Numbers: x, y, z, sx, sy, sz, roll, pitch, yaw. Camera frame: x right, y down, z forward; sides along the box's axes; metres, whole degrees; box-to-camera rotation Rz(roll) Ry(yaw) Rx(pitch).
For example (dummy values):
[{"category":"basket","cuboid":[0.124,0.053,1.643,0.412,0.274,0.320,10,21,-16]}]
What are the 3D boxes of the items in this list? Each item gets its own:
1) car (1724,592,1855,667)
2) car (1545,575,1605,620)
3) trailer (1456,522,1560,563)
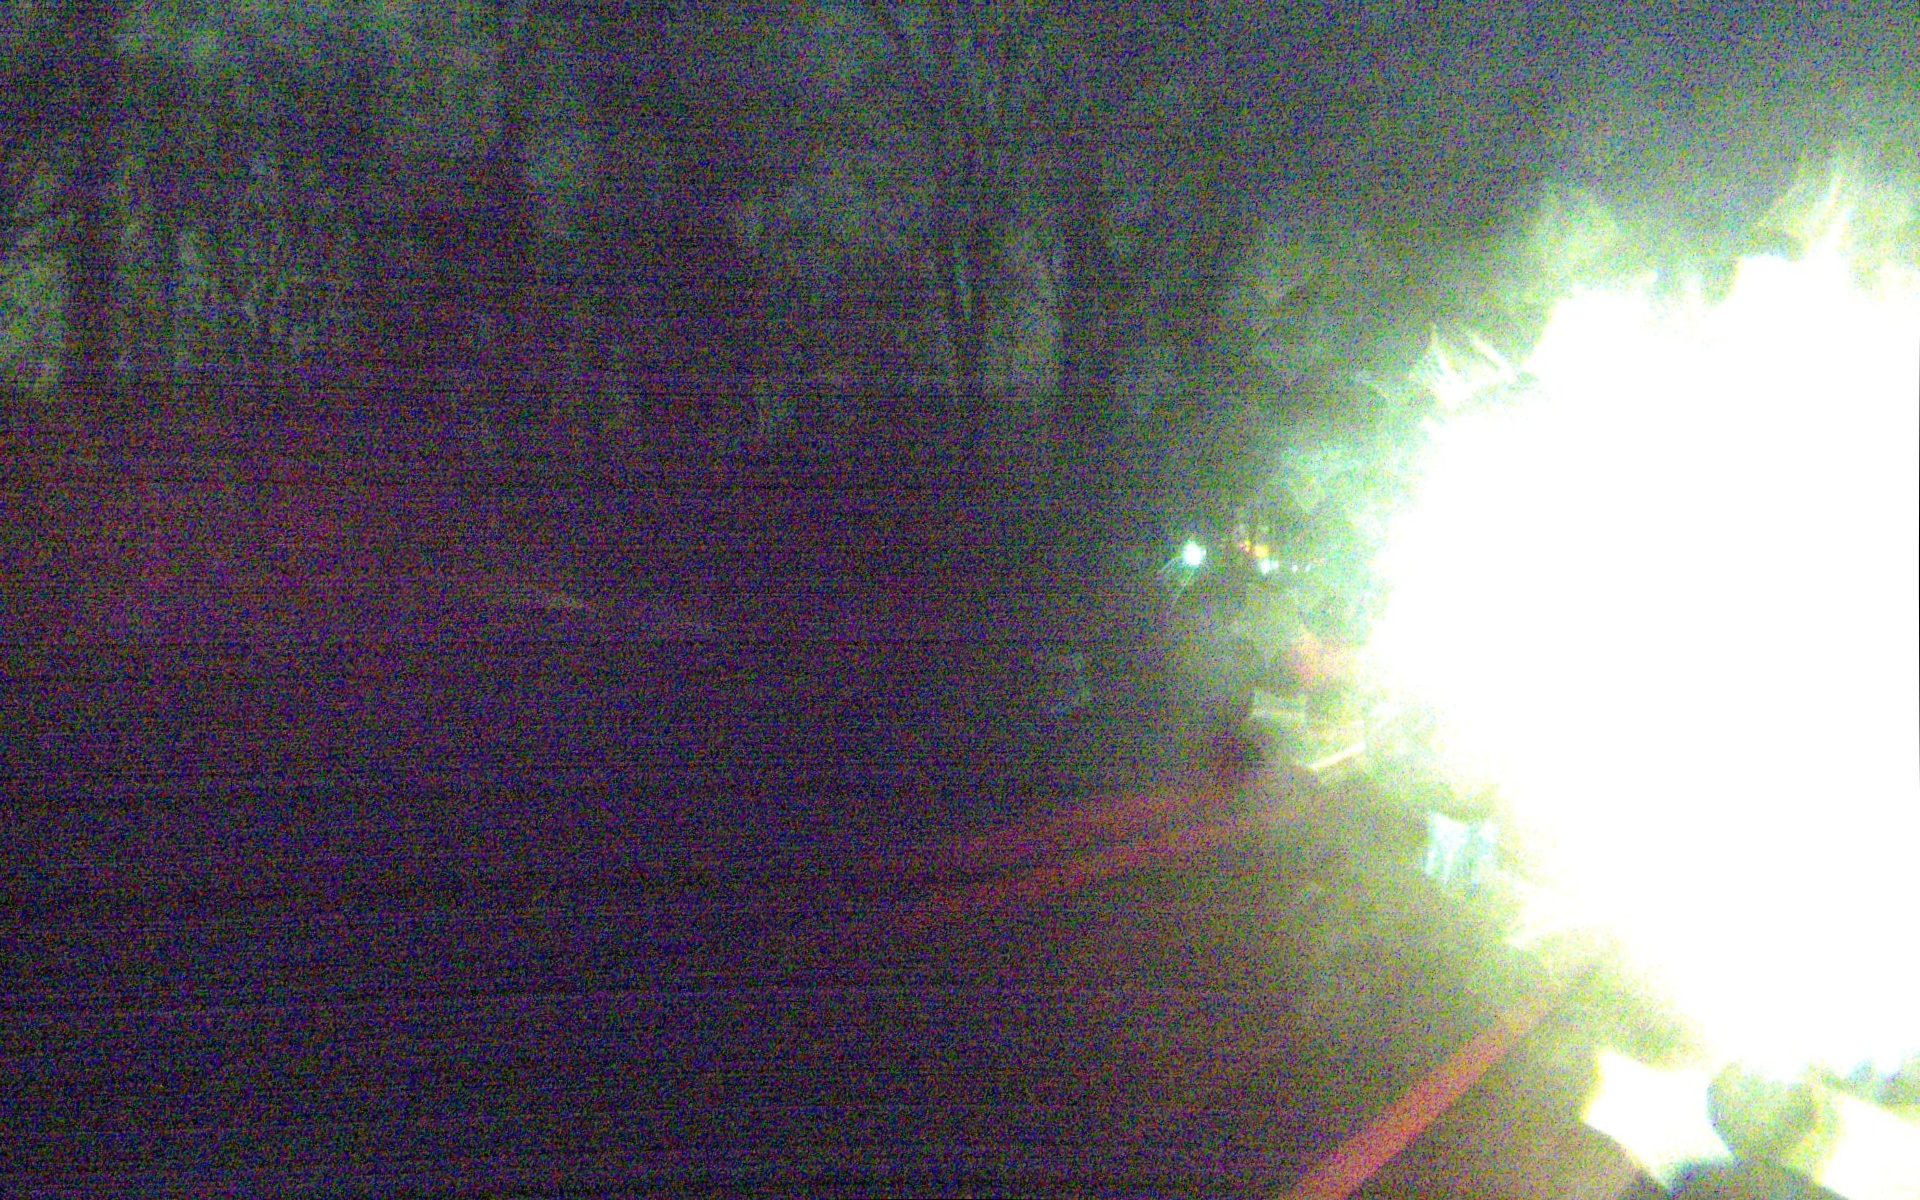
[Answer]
[{"category":"car","cuboid":[22.842,0.732,28.056,1.875,1.631,3.966,3,4,26]},{"category":"car","cuboid":[31.255,-0.148,51.542,1.977,2.038,3.970,-4,1,23]},{"category":"trailer","cuboid":[55.324,-5.896,102.865,3.386,3.924,13.370,0,4,1]}]
